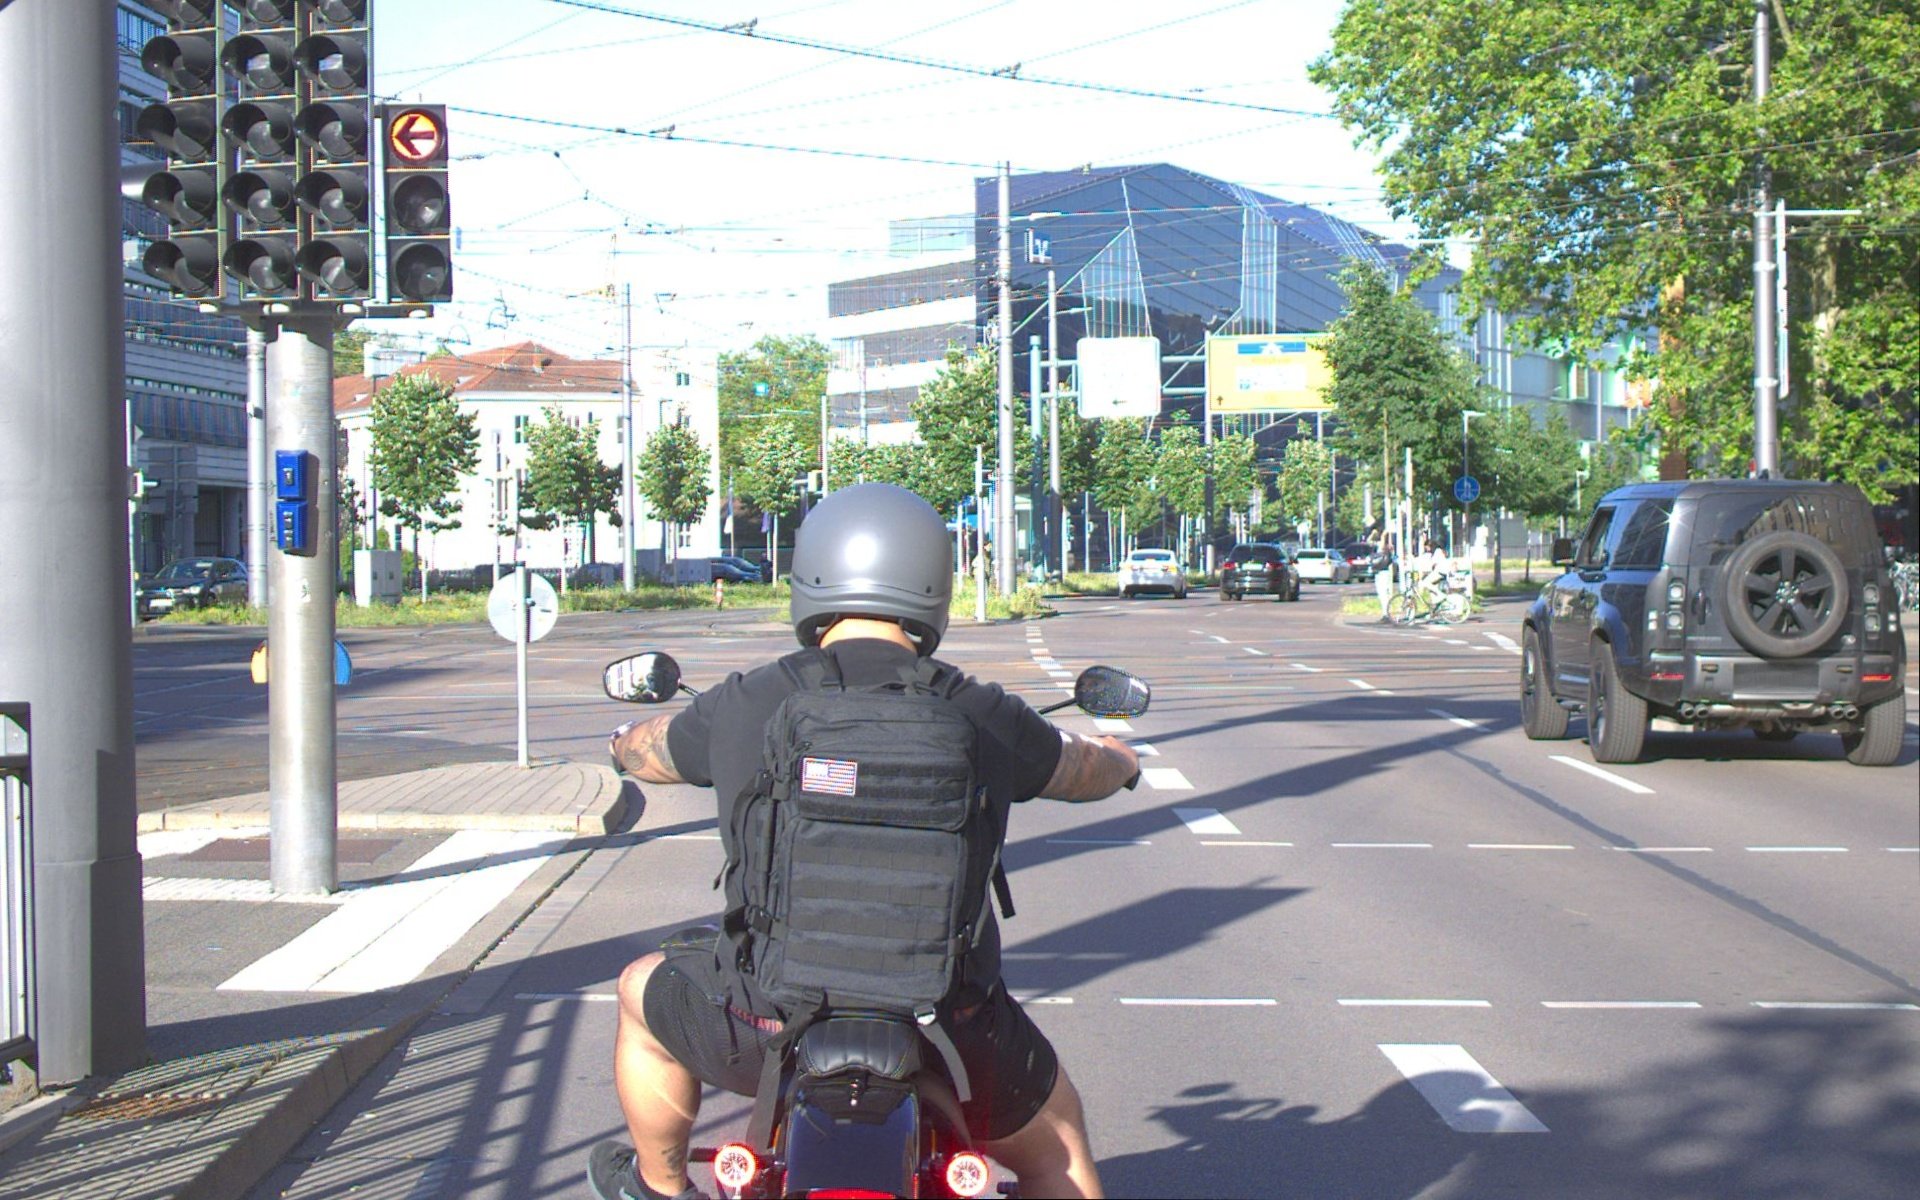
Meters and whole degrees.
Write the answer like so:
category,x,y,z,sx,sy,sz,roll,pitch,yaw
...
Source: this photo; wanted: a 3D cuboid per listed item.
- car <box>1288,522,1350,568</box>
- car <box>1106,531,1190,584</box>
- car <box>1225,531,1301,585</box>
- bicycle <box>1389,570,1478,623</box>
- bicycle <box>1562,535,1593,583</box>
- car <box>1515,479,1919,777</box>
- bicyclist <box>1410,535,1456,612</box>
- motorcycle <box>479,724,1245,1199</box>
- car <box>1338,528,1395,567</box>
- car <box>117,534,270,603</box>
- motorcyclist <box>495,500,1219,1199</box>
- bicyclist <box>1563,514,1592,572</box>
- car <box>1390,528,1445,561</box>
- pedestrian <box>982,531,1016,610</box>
category,x,y,z,sx,sy,sz,roll,pitch,yaw
car,14.575,-2.251,139.559,1.820,1.811,3.941,0,1,16
car,5.578,-1.243,101.539,1.902,1.503,3.998,1,1,11
car,8.564,-1.184,96.883,1.842,1.459,3.999,1,1,9
bicycle,9.237,-0.064,67.124,1.629,1.018,0.516,-1,0,23
bicycle,19.574,-1.313,108.969,0.861,1.476,2.575,0,1,12
car,5.221,0.155,23.962,2.053,1.867,4.227,1,1,1
bicyclist,9.234,-0.513,67.116,0.743,1.498,0.569,-1,0,23
motorcycle,-0.147,0.838,5.711,1.005,1.121,2.323,1,1,-1
car,17.492,-2.259,147.865,1.722,1.651,3.751,0,1,18
car,-17.509,-0.741,78.721,1.792,1.461,4.309,-1,2,11
motorcyclist,-0.159,0.626,5.559,1.022,1.547,1.286,1,1,-1
bicyclist,19.576,-1.811,108.984,0.861,1.834,1.256,0,1,12
car,20.775,-2.527,156.130,1.722,1.479,3.750,0,1,20
pedestrian,0.784,-0.598,69.647,0.657,1.577,0.489,0,1,3
